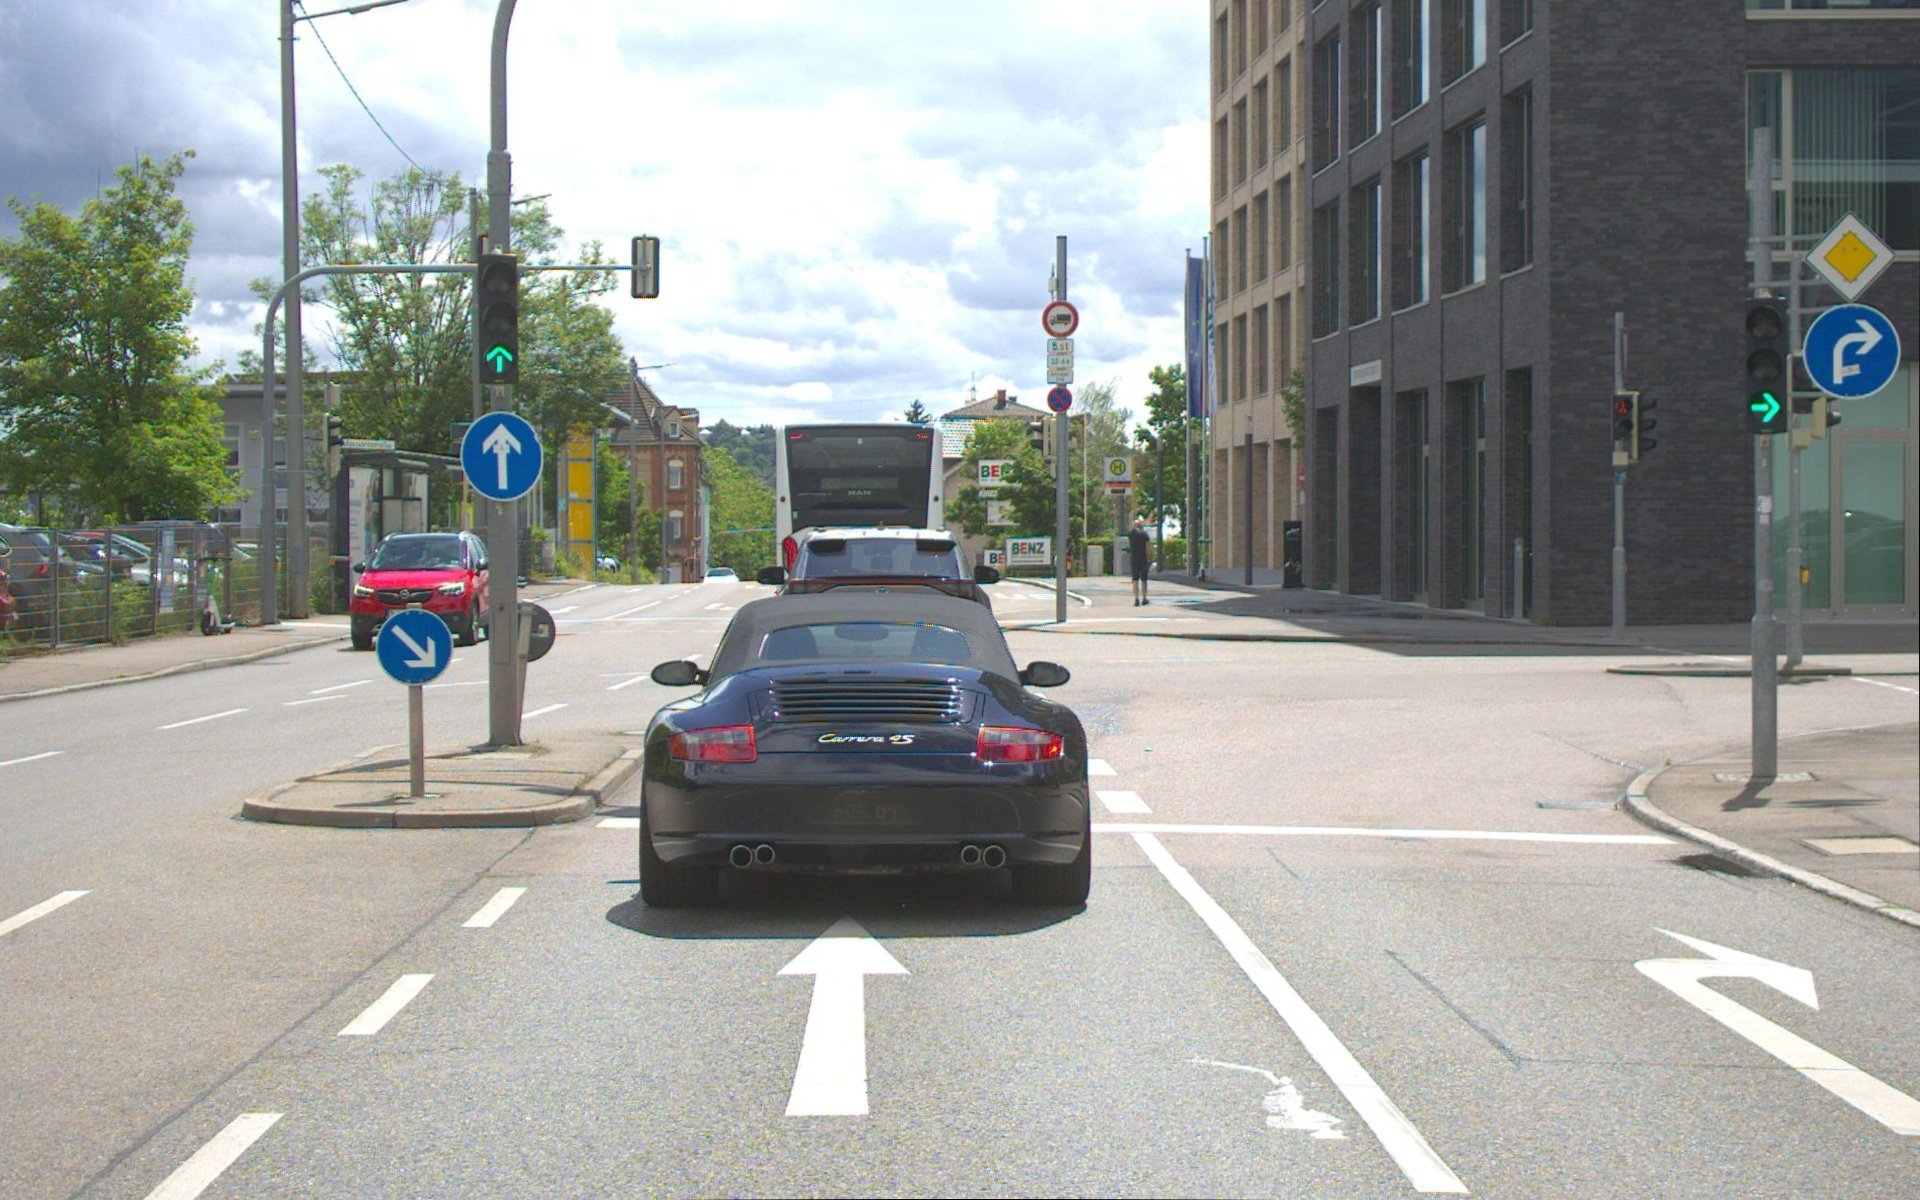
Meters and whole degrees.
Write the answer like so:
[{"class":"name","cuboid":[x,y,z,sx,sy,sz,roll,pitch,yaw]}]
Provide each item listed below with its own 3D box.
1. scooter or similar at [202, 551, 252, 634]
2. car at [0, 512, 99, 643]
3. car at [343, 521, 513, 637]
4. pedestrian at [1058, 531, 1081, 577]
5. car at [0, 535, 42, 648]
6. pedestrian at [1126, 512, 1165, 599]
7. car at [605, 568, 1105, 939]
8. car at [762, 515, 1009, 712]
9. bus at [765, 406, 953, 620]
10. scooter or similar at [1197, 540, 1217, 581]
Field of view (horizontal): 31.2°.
[{"class":"scooter or similar","cuboid":[-10.844,-0.117,50.875,0.424,1.206,1.126,1,1,3]},{"class":"car","cuboid":[-13.934,-0.300,46.646,4.102,1.728,2.000,-1,1,-5]},{"class":"car","cuboid":[-7.608,-0.333,49.509,1.841,1.590,4.000,0,1,0]},{"class":"pedestrian","cuboid":[3.711,-1.550,116.534,0.687,1.531,0.856,-1,0,-2]},{"class":"car","cuboid":[-13.798,-0.101,43.872,3.851,1.414,1.903,-1,1,-10]},{"class":"pedestrian","cuboid":[3.706,-0.897,68.740,0.683,1.722,0.962,0,1,-2]},{"class":"car","cuboid":[-0.432,0.576,15.414,1.930,1.372,4.208,0,1,-1]},{"class":"car","cuboid":[-0.714,0.064,29.618,1.930,1.577,4.209,0,1,-4]},{"class":"bus","cuboid":[-1.529,-1.447,57.382,2.802,3.187,12.196,0,1,0]},{"class":"scooter or similar","cuboid":[7.059,-1.131,98.304,0.427,1.149,1.404,-1,1,-2]}]
